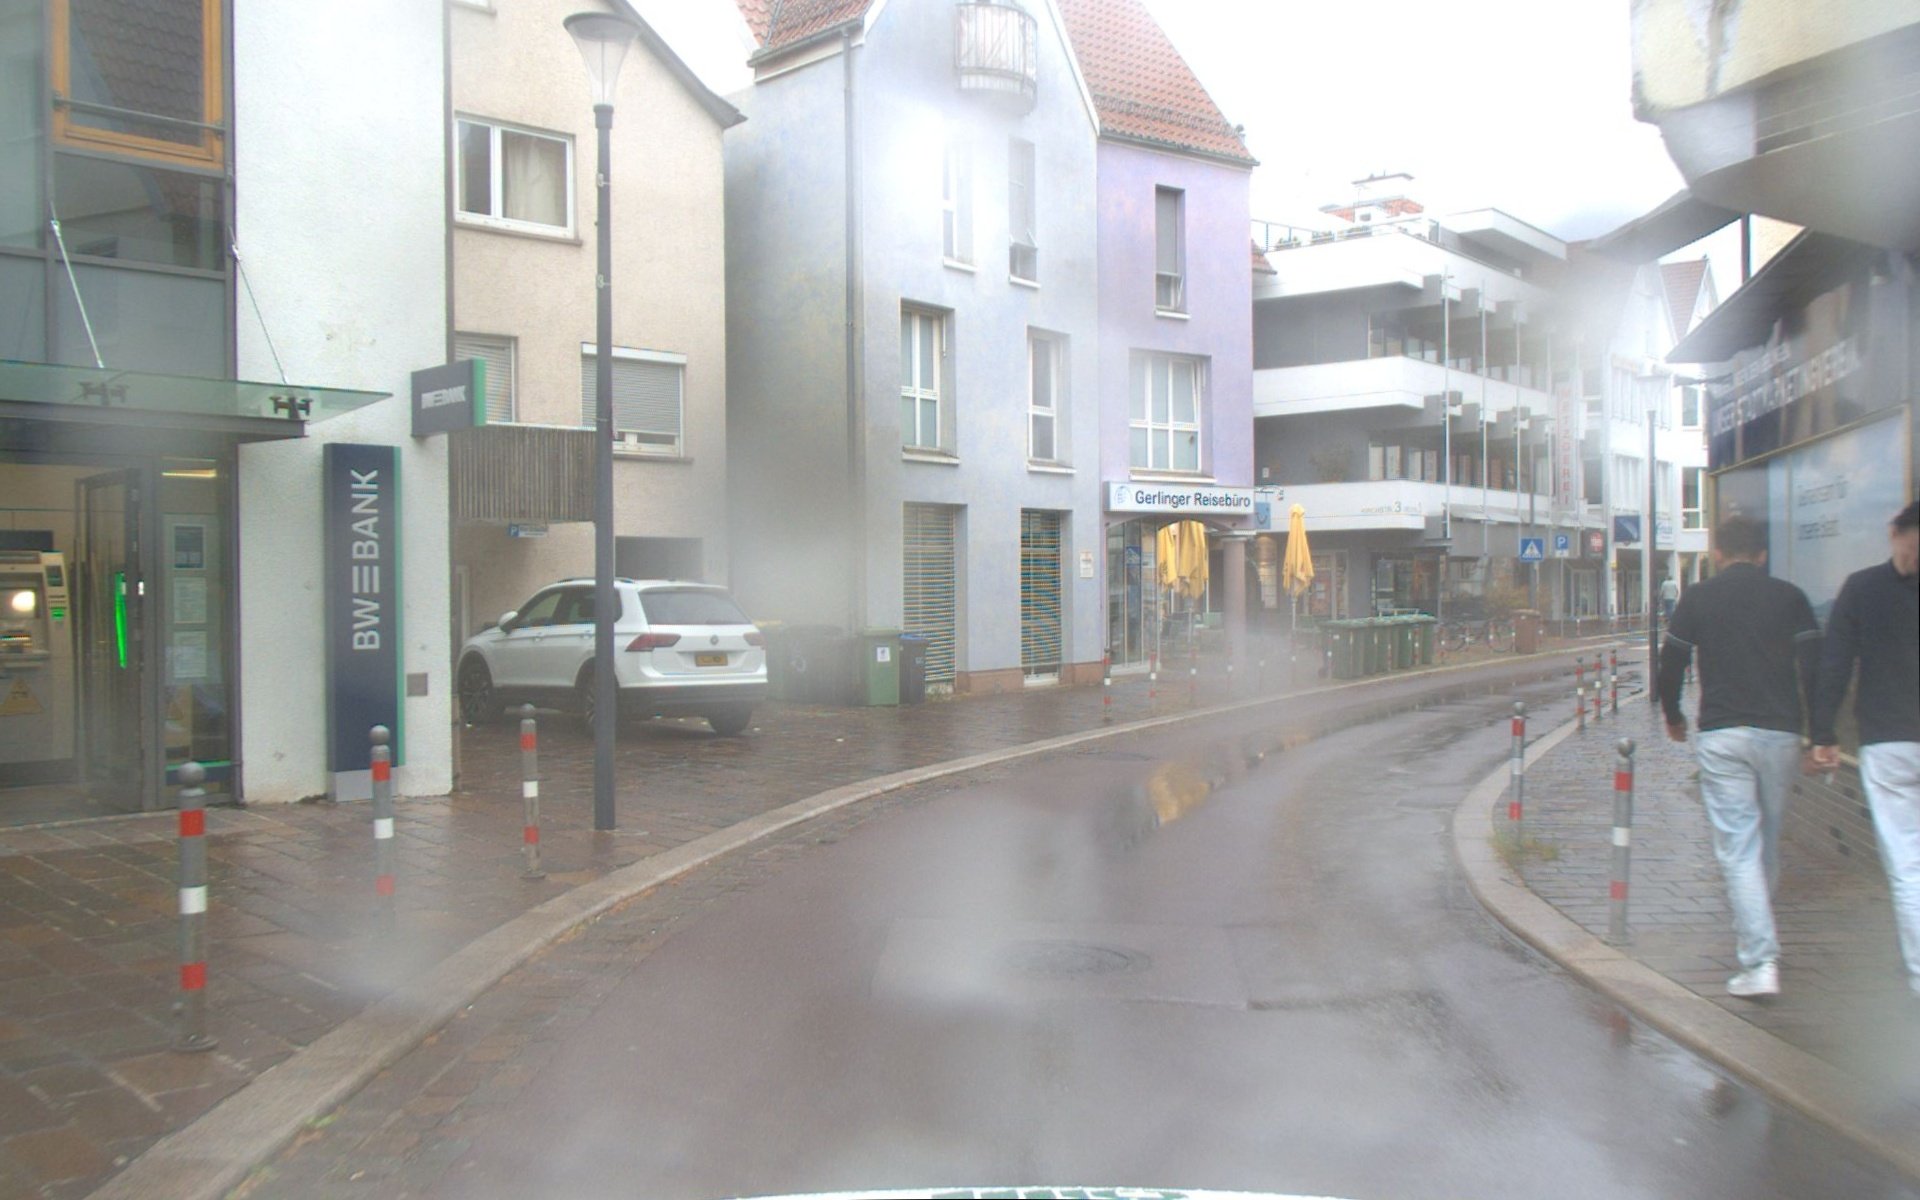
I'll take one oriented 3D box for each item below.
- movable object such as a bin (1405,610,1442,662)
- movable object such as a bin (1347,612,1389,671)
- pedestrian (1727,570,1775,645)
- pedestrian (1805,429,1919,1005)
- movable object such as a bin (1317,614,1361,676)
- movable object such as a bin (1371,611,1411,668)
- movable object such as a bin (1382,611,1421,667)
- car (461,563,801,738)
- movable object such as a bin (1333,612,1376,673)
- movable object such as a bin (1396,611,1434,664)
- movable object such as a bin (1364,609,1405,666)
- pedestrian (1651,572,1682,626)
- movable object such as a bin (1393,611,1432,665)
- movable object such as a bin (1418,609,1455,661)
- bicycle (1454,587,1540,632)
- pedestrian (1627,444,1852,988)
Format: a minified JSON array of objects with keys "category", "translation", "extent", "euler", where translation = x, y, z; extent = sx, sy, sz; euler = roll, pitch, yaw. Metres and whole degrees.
[{"category":"movable object such as a bin","translation":[10.289,0.803,36.708],"extent":[0.622,1.147,0.575],"euler":[-2,-1,35]},{"category":"movable object such as a bin","translation":[8.031,0.814,32.563],"extent":[0.622,1.147,0.575],"euler":[-2,-1,35]},{"category":"pedestrian","translation":[22.216,0.197,46.447],"extent":[1.122,2.048,0.825],"euler":[0,1,35]},{"category":"pedestrian","translation":[3.651,0.414,6.227],"extent":[0.637,2.049,0.762],"euler":[-1,-1,14]},{"category":"movable object such as a bin","translation":[7.146,0.849,31.191],"extent":[0.622,1.147,0.575],"euler":[-2,-1,35]},{"category":"movable object such as a bin","translation":[8.909,0.813,34.190],"extent":[0.622,1.147,0.575],"euler":[-2,-1,35]},{"category":"movable object such as a bin","translation":[9.317,0.823,34.932],"extent":[0.622,1.147,0.575],"euler":[-2,-1,35]},{"category":"car","translation":[-3.716,0.487,18.263],"extent":[1.983,1.706,3.938],"euler":[0,0,-42]},{"category":"movable object such as a bin","translation":[7.589,0.816,31.835],"extent":[0.622,1.147,0.575],"euler":[-2,-1,35]},{"category":"movable object such as a bin","translation":[9.956,0.818,36.177],"extent":[0.622,1.147,0.575],"euler":[-2,-1,35]},{"category":"movable object such as a bin","translation":[8.603,0.760,33.504],"extent":[0.622,1.147,0.575],"euler":[-2,-1,35]},{"category":"pedestrian","translation":[27.458,-0.036,64.272],"extent":[0.822,2.049,1.003],"euler":[-2,-1,39]},{"category":"movable object such as a bin","translation":[9.716,0.815,35.508],"extent":[0.622,1.147,0.575],"euler":[-2,-1,35]},{"category":"movable object such as a bin","translation":[10.706,0.780,37.149],"extent":[0.622,1.147,0.575],"euler":[-2,-1,35]},{"category":"bicycle","translation":[16.420,0.297,50.598],"extent":[2.266,1.337,1.005],"euler":[-2,-1,40]},{"category":"pedestrian","translation":[3.118,0.445,6.678],"extent":[0.637,2.049,0.762],"euler":[-1,-1,14]}]
